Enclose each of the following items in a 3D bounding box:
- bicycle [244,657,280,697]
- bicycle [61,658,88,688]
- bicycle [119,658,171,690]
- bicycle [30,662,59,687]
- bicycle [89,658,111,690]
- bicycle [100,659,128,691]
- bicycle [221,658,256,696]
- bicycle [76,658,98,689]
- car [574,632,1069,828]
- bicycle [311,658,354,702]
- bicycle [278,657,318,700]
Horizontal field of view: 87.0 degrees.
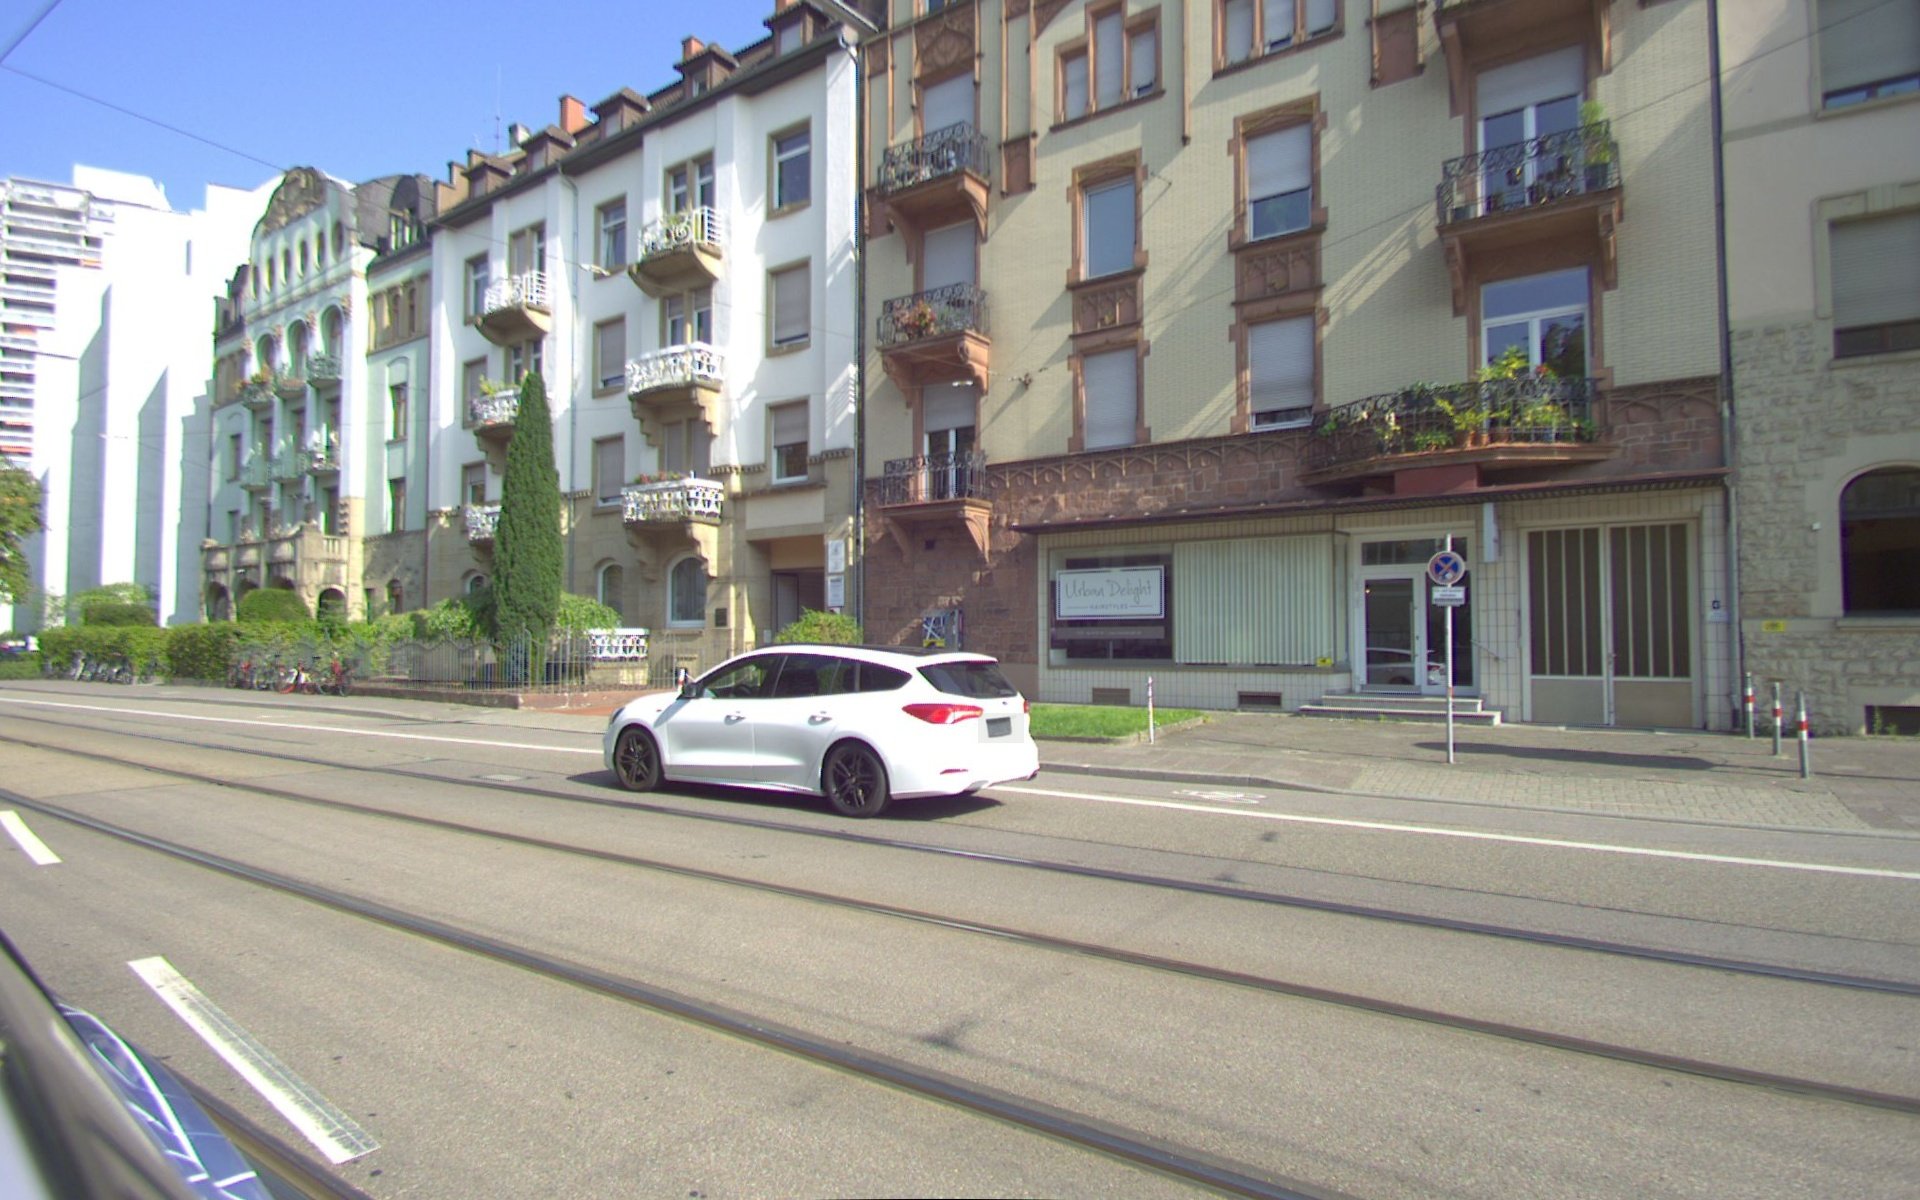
[{"bbox_3d":[-19.615,2.160,28.426,1.351,1.096,0.367,-2,-4,35],"label":"bicycle"},{"bbox_3d":[-33.249,2.724,37.990,1.674,1.096,0.420,-3,-4,37],"label":"bicycle"},{"bbox_3d":[-28.148,2.545,34.985,0.422,1.096,1.388,-1,-3,17],"label":"bicycle"},{"bbox_3d":[-36.028,2.925,39.807,1.765,0.985,0.421,-2,-4,34],"label":"bicycle"},{"bbox_3d":[-30.936,2.647,36.389,1.677,1.096,0.419,-3,-4,44],"label":"bicycle"},{"bbox_3d":[-29.313,2.587,35.058,1.674,1.096,0.420,-3,-4,39],"label":"bicycle"},{"bbox_3d":[-21.028,2.230,29.486,1.351,1.096,0.367,-2,-4,35],"label":"bicycle"},{"bbox_3d":[-31.681,2.657,36.733,1.677,1.096,0.419,-3,-4,44],"label":"bicycle"},{"bbox_3d":[-1.406,1.126,9.646,4.530,1.466,1.858,-2,-6,32],"label":"car"},{"bbox_3d":[-15.970,2.020,25.749,1.484,1.096,0.367,-2,-4,35],"label":"bicycle"},{"bbox_3d":[-17.464,2.068,26.700,1.351,1.096,0.367,-2,-4,35],"label":"bicycle"}]
